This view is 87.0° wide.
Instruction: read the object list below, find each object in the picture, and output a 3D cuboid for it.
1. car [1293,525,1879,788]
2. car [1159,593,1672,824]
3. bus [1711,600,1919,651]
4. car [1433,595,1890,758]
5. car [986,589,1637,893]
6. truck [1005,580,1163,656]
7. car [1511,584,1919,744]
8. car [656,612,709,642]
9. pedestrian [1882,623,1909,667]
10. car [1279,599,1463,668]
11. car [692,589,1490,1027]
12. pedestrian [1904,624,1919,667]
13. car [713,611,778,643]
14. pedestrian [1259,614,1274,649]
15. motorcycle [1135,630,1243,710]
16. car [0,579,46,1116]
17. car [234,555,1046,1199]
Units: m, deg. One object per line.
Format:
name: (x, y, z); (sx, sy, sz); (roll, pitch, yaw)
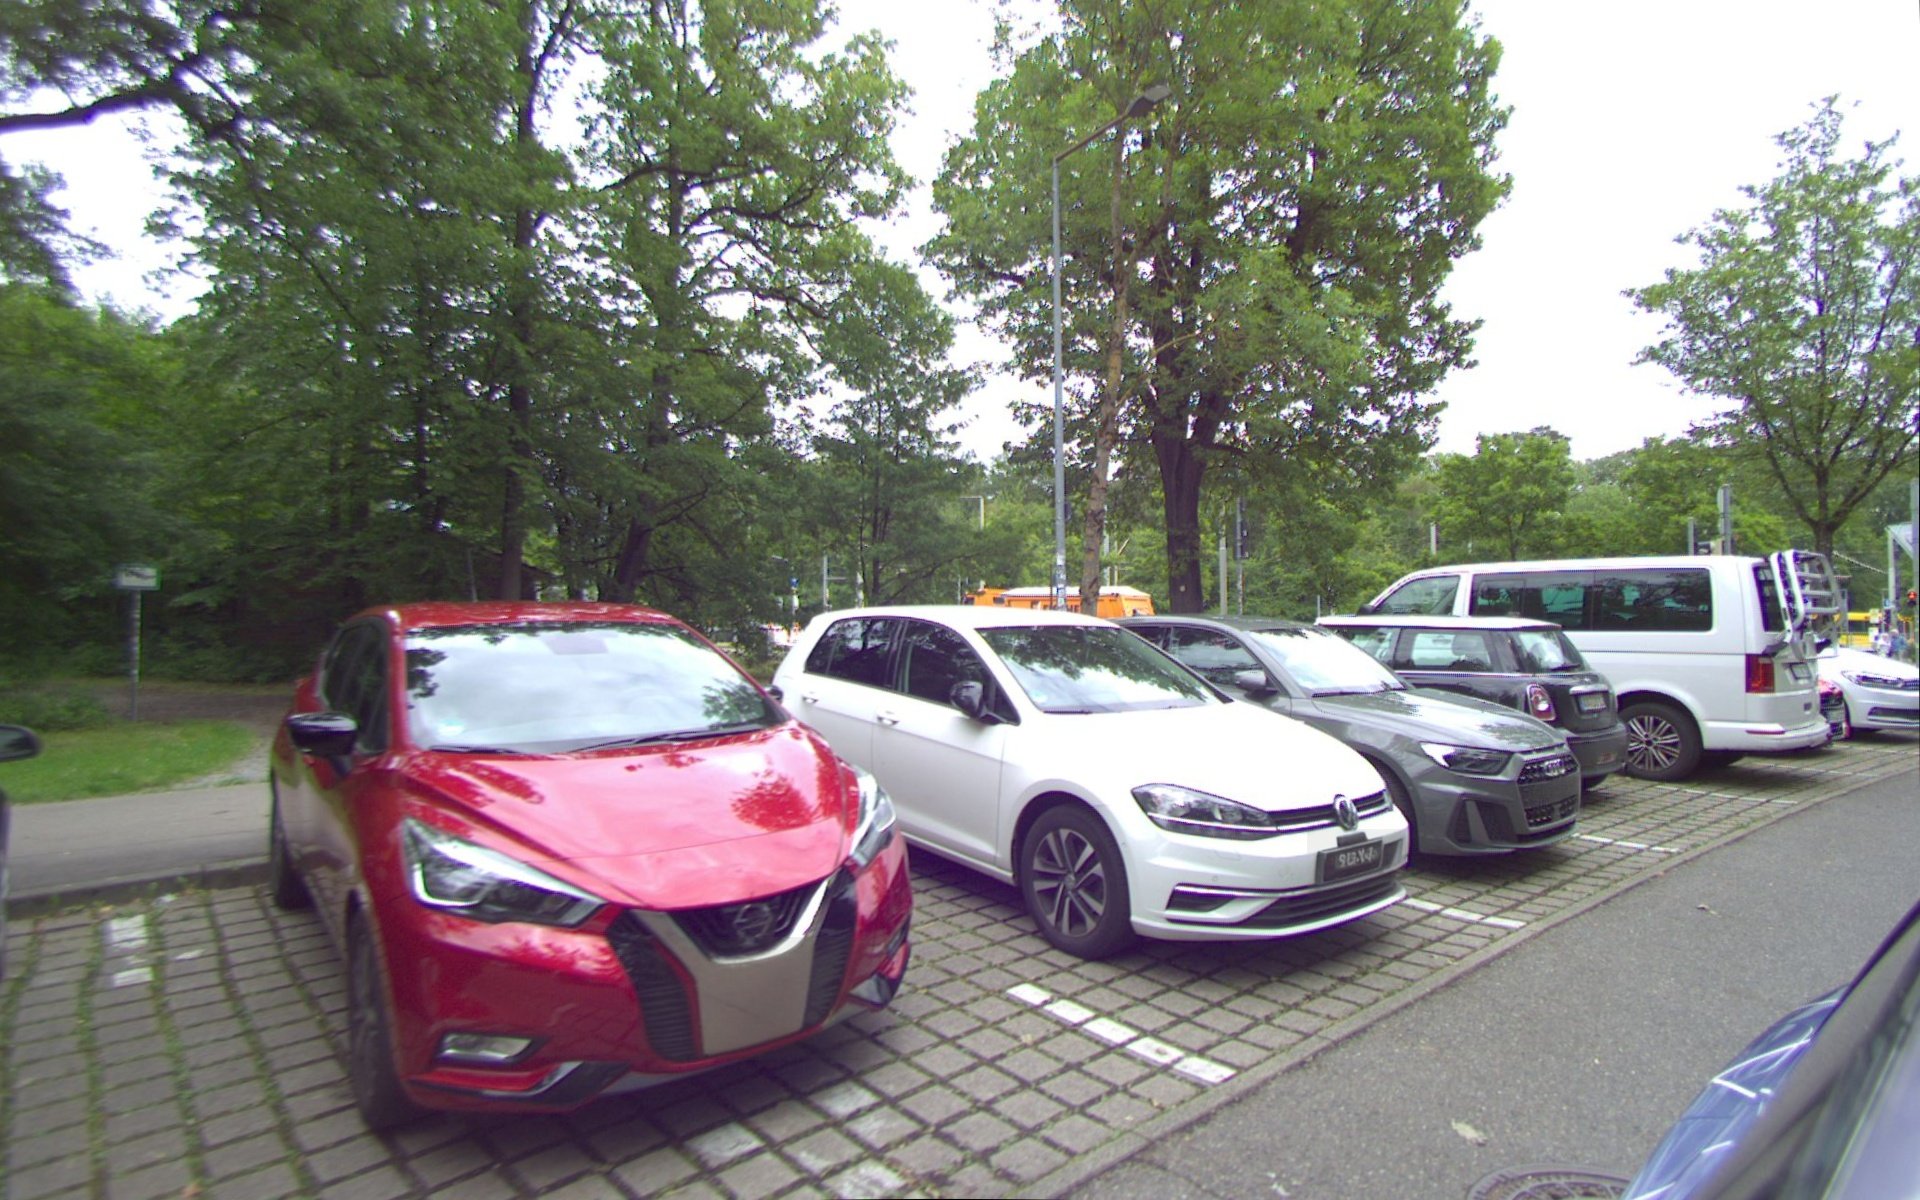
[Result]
car: (6.049, 0.558, 10.389); (2.044, 2.048, 4.660); (3, -4, -37)
car: (3.797, 0.843, 8.971); (1.812, 1.575, 3.730); (3, -4, -38)
bus: (68.347, 2.047, 78.841); (18.195, 3.529, 3.983); (1, -3, -9)
car: (8.051, 0.818, 12.031); (1.908, 1.575, 4.012); (1, -2, -30)
car: (2.181, 0.765, 7.214); (1.843, 1.502, 3.995); (-1, -2, -38)
truck: (6.169, 0.908, 51.738); (2.819, 3.560, 8.231); (2, -2, -42)
car: (10.104, 0.699, 13.346); (2.123, 1.715, 4.538); (0, 0, -31)
car: (-17.510, 1.727, 63.755); (1.770, 1.761, 3.695); (4, -4, -41)
pedestrian: (38.592, 1.868, 41.767); (0.734, 1.781, 0.658); (-2, -5, 42)
car: (11.254, 0.940, 27.828); (4.532, 1.773, 1.981); (-1, -4, 26)
car: (0.241, 0.733, 5.933); (1.818, 1.495, 4.784); (1, -1, -37)
pedestrian: (39.328, 1.877, 41.537); (0.733, 1.781, 0.658); (-2, -5, 41)
car: (-12.326, 1.562, 58.056); (1.965, 1.739, 3.992); (4, -4, -41)
pedestrian: (20.156, 2.069, 66.569); (0.849, 2.325, 0.614); (0, -4, 13)
motorcycle: (3.598, 1.061, 15.818); (1.978, 1.175, 0.675); (2, -2, -44)
car: (-3.404, 0.692, 2.231); (1.888, 1.502, 3.994); (0, 0, -40)
car: (-1.789, 0.664, 4.382); (1.885, 1.499, 4.236); (0, 0, -40)
